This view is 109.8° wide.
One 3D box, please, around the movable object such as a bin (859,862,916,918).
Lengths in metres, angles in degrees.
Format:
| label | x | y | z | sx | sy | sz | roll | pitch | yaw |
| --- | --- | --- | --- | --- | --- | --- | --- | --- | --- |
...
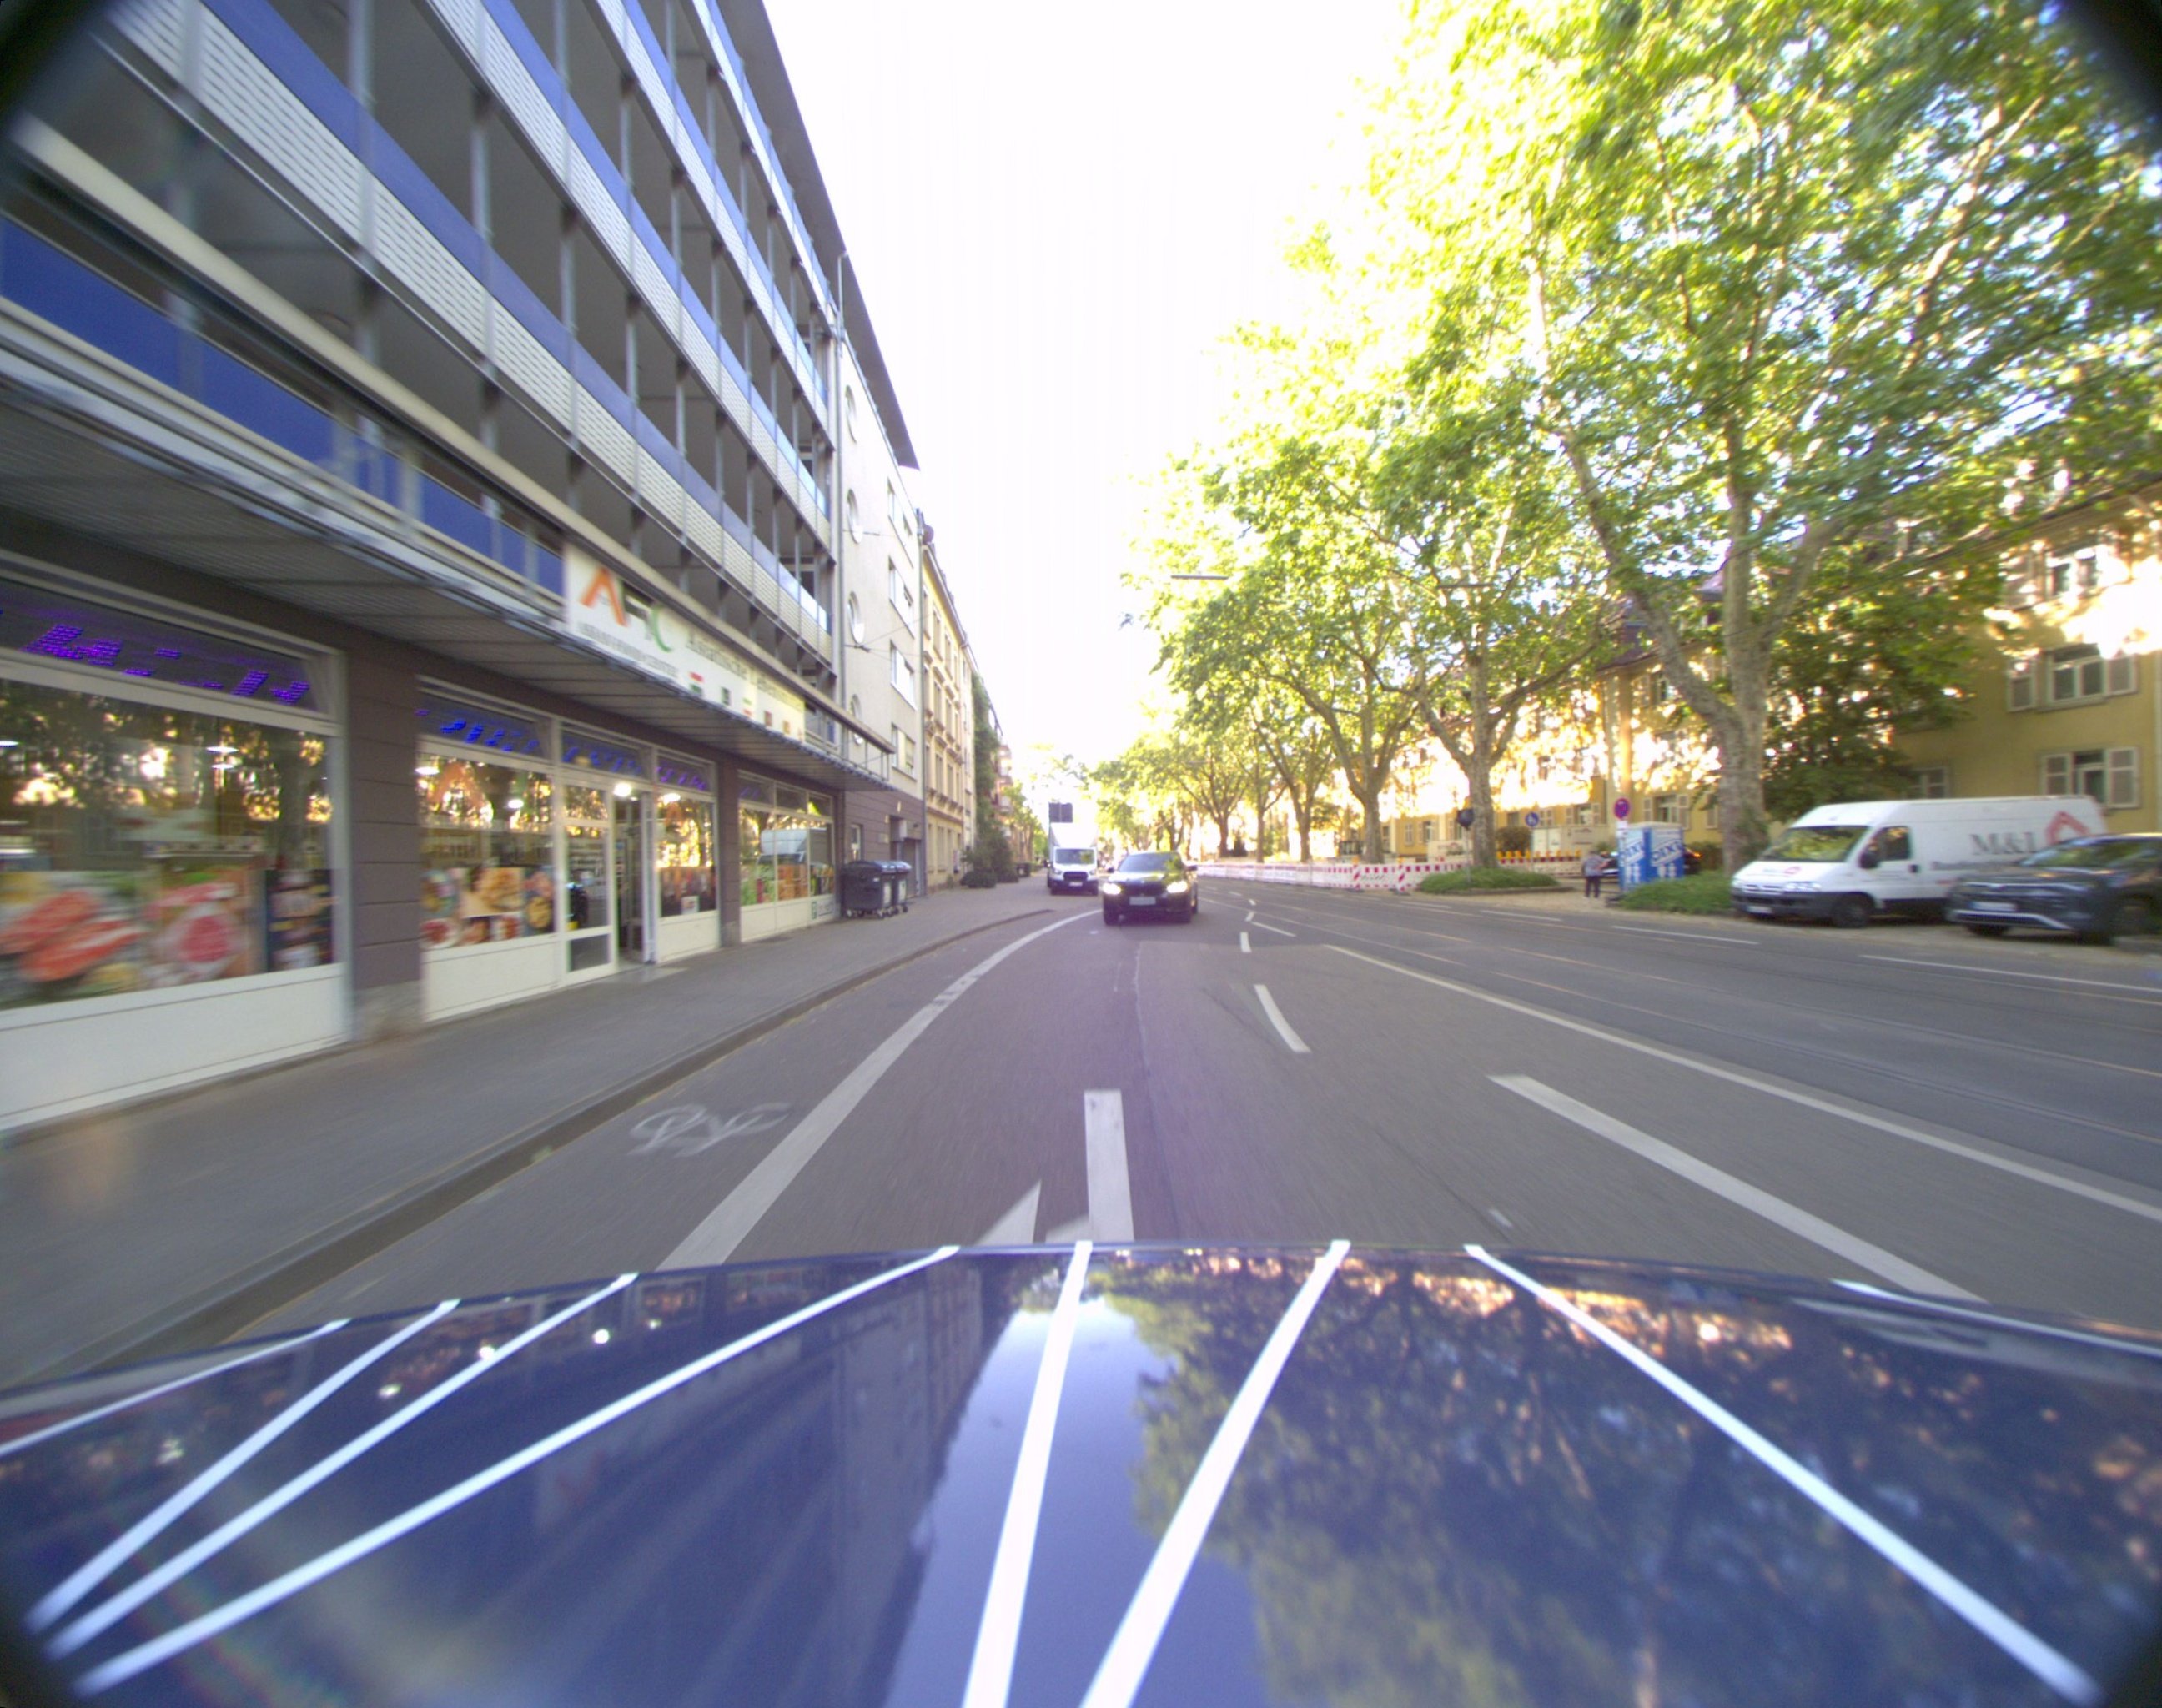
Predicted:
| label | x | y | z | sx | sy | sz | roll | pitch | yaw |
| --- | --- | --- | --- | --- | --- | --- | --- | --- | --- |
| movable object such as a bin | -5.205 | 0.950 | 20.558 | 1.122 | 1.437 | 1.306 | -1 | 0 | 4 |

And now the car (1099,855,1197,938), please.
| label | x | y | z | sx | sy | sz | roll | pitch | yaw |
| --- | --- | --- | --- | --- | --- | --- | --- | --- | --- |
| car | 1.773 | 0.920 | 18.575 | 1.941 | 1.732 | 4.478 | -2 | 0 | 10 |

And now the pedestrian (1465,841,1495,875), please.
| label | x | y | z | sx | sy | sz | roll | pitch | yaw |
| --- | --- | --- | --- | --- | --- | --- | --- | --- | --- |
| pedestrian | 24.087 | 0.221 | 45.892 | 1.098 | 2.002 | 1.235 | -1 | 0 | -4 |

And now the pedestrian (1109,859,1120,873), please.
| label | x | y | z | sx | sy | sz | roll | pitch | yaw |
| --- | --- | --- | --- | --- | --- | --- | --- | --- | --- |
| pedestrian | 3.811 | 1.347 | 87.110 | 0.889 | 1.533 | 0.946 | -1 | 0 | -21 |

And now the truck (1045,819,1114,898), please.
| label | x | y | z | sx | sy | sz | roll | pitch | yaw |
| --- | --- | --- | --- | --- | --- | --- | --- | --- | --- |
| truck | -0.258 | 0.201 | 35.399 | 2.385 | 3.165 | 8.526 | 2 | 0 | -5 |

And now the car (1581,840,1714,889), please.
| label | x | y | z | sx | sy | sz | roll | pitch | yaw |
| --- | --- | --- | --- | --- | --- | --- | --- | --- | --- |
| car | 21.067 | 0.381 | 28.499 | 1.829 | 1.592 | 4.221 | -3 | 0 | 1 |

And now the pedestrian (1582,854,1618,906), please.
| label | x | y | z | sx | sy | sz | roll | pitch | yaw |
| --- | --- | --- | --- | --- | --- | --- | --- | --- | --- |
| pedestrian | 15.820 | 0.783 | 23.178 | 0.596 | 1.563 | 0.717 | -1 | 0 | 3 |

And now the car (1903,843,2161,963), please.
| label | x | y | z | sx | sy | sz | roll | pitch | yaw |
| --- | --- | --- | --- | --- | --- | --- | --- | --- | --- |
| car | 15.968 | 0.665 | 11.694 | 4.575 | 1.621 | 1.969 | -1 | 0 | -2 |

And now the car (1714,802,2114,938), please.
| label | x | y | z | sx | sy | sz | roll | pitch | yaw |
| --- | --- | --- | --- | --- | --- | --- | --- | --- | --- |
| car | 15.897 | 0.289 | 14.722 | 5.612 | 2.361 | 2.025 | -1 | 0 | -1 |

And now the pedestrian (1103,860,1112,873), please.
| label | x | y | z | sx | sy | sz | roll | pitch | yaw |
| --- | --- | --- | --- | --- | --- | --- | --- | --- | --- |
| pedestrian | 3.122 | 1.438 | 88.329 | 0.749 | 1.533 | 0.865 | -1 | 0 | -21 |

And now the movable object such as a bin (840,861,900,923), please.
| label | x | y | z | sx | sy | sz | roll | pitch | yaw |
| --- | --- | --- | --- | --- | --- | --- | --- | --- | --- |
| movable object such as a bin | -5.157 | 0.913 | 18.662 | 1.069 | 1.438 | 1.297 | -1 | 0 | 0 |
